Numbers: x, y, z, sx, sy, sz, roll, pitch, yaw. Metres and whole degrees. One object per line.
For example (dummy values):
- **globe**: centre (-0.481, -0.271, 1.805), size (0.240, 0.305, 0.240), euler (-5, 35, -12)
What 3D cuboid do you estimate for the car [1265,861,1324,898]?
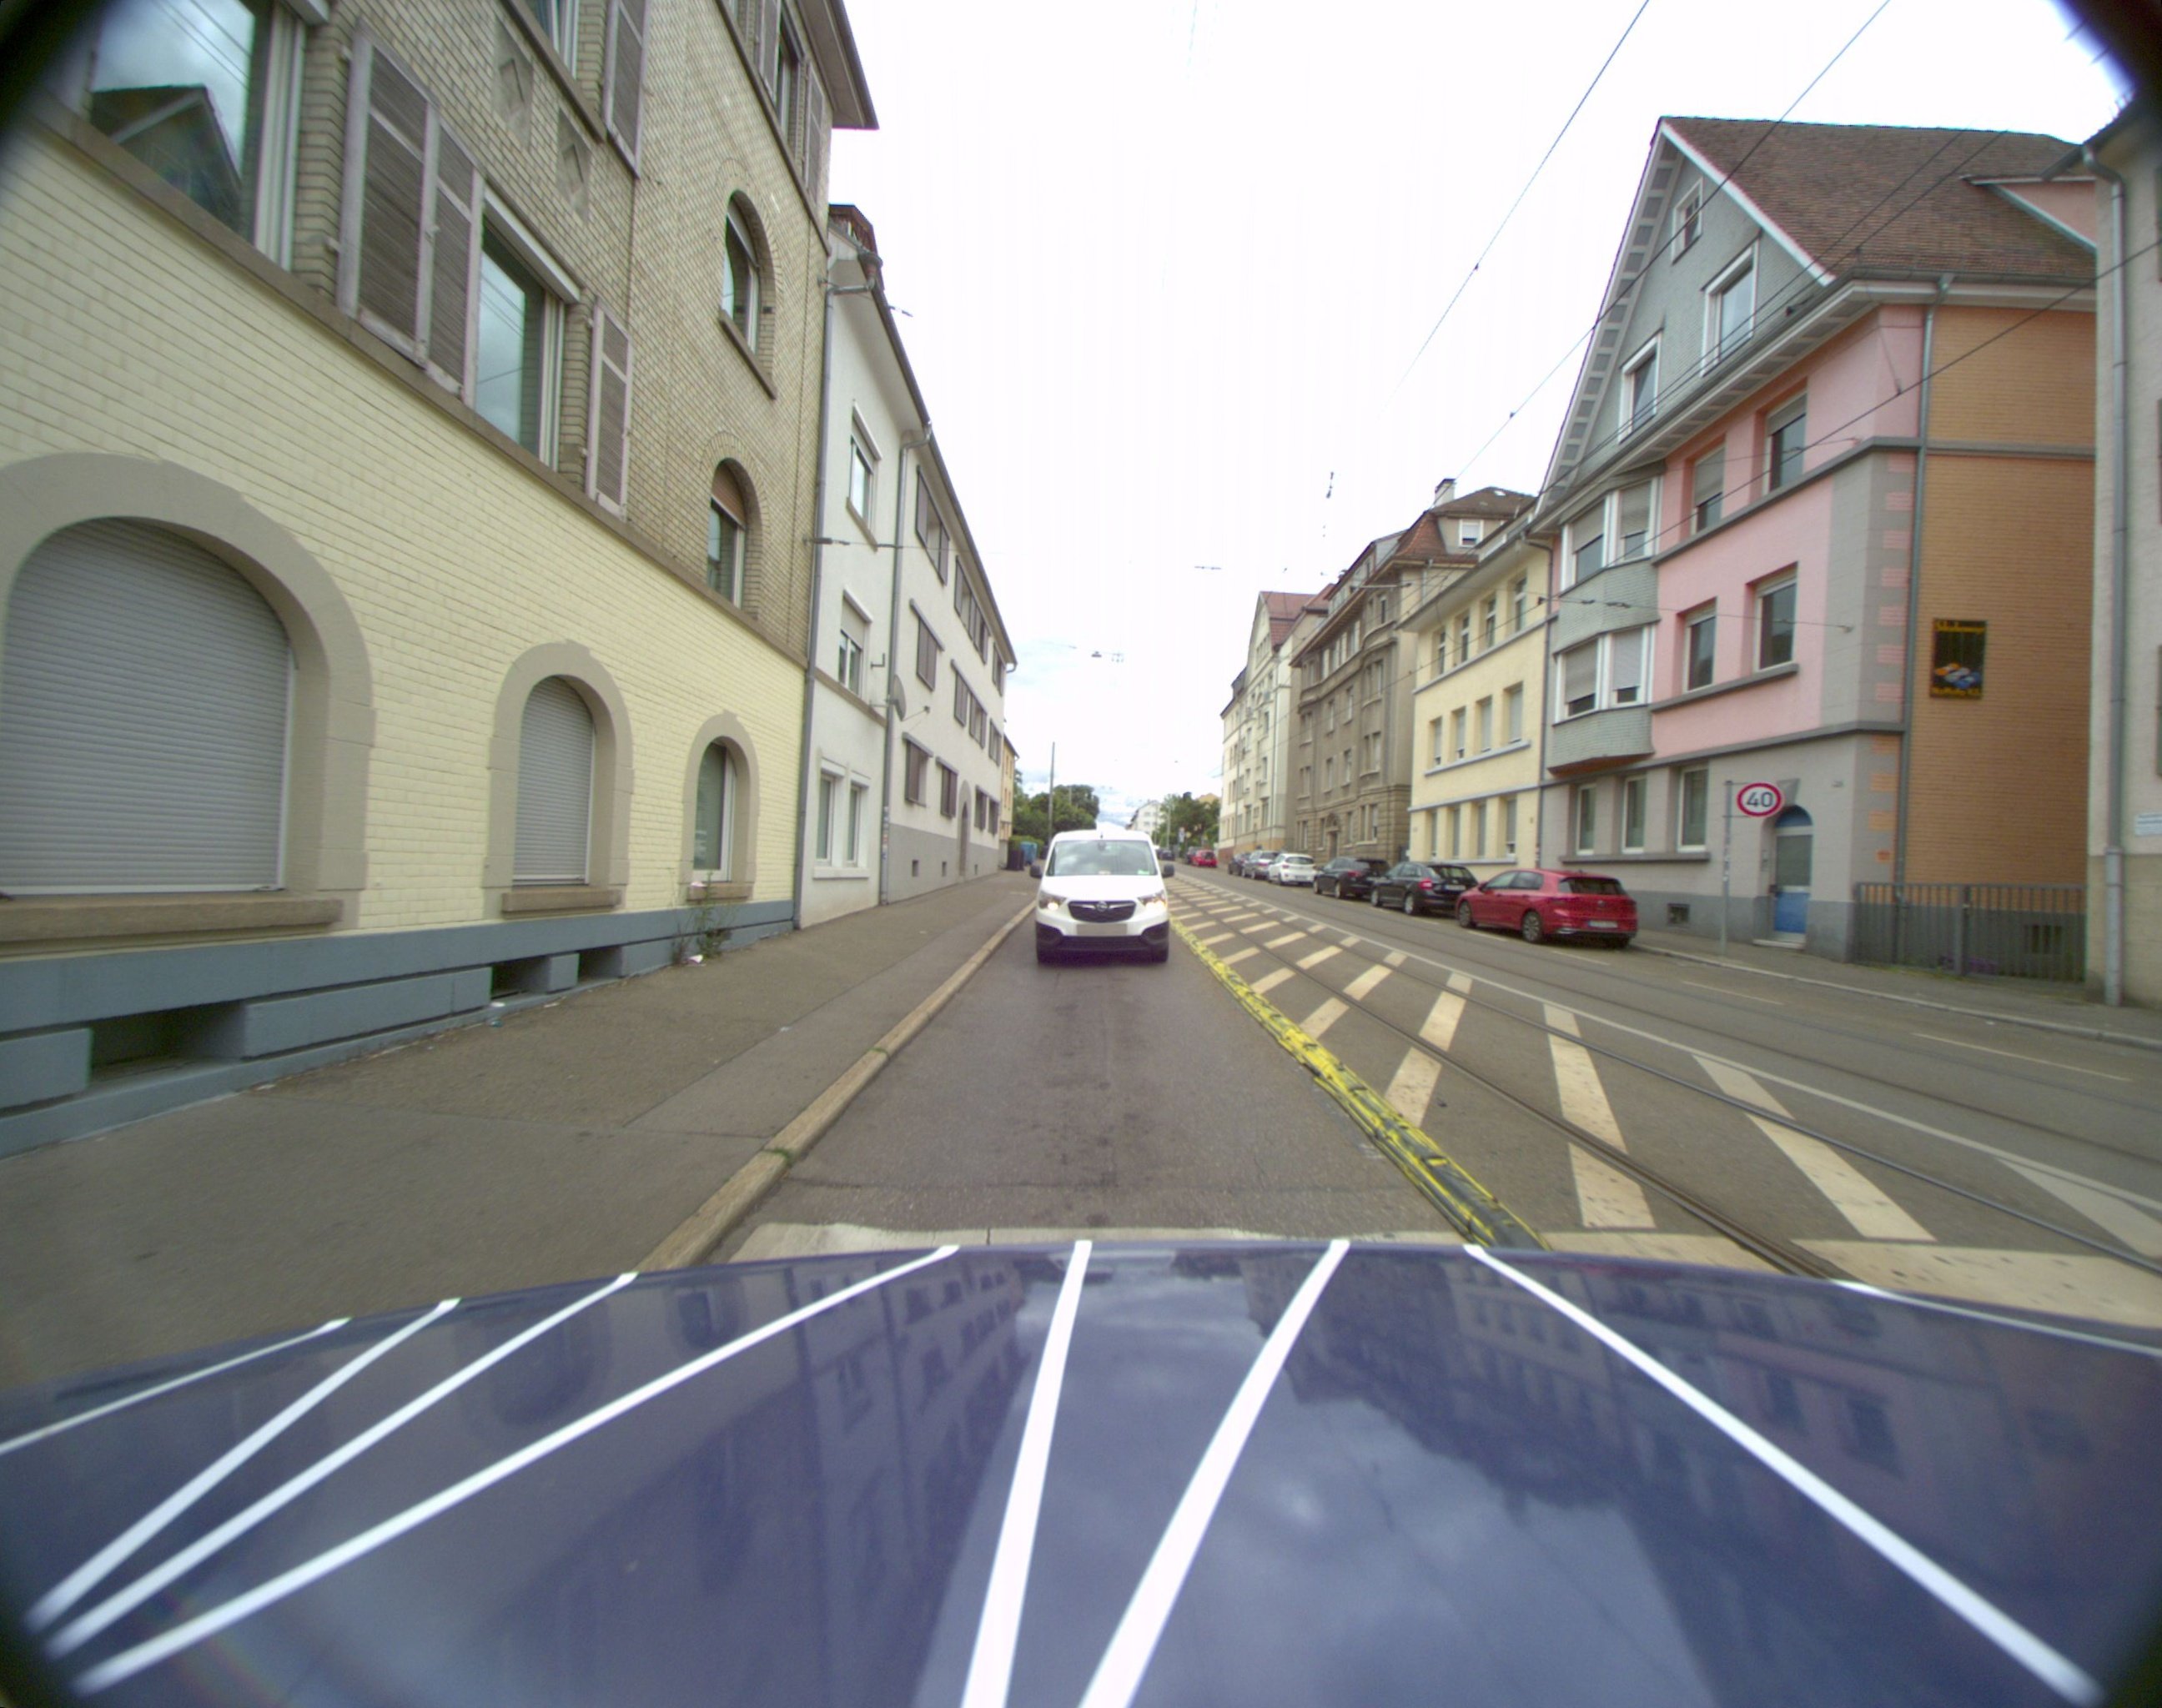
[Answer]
- **car**: centre (9.913, 1.135, 35.582), size (1.743, 1.502, 3.800), euler (2, 1, 2)

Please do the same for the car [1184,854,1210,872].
- **car**: centre (10.652, 0.808, 70.078), size (1.743, 1.517, 3.951), euler (4, 1, 0)

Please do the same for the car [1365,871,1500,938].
- **car**: centre (9.527, 1.311, 21.027), size (1.789, 1.402, 4.241), euler (4, 1, 2)

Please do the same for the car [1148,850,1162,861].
- **car**: centre (11.606, 0.232, 119.401), size (1.743, 1.517, 3.951), euler (4, 1, 0)

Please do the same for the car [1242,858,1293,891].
- **car**: centre (9.988, 1.045, 41.029), size (1.743, 1.558, 4.142), euler (1, 1, 0)

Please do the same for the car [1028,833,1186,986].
- **car**: centre (0.389, 0.667, 11.701), size (1.888, 1.827, 4.677), euler (2, 0, 2)

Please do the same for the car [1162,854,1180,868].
- **car**: centre (11.277, 0.829, 95.377), size (1.743, 1.517, 3.951), euler (4, 1, 0)

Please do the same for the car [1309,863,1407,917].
- **car**: centre (9.531, 1.179, 26.565), size (1.789, 1.502, 4.526), euler (4, 1, 2)

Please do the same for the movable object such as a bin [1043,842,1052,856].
- **movable object such as a bin**: centre (-2.694, -0.390, 61.053), size (0.669, 1.053, 0.539), euler (1, 0, 2)

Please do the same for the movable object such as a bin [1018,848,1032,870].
- **movable object such as a bin**: centre (-2.724, 0.249, 36.824), size (0.565, 1.003, 0.498), euler (5, 0, -7)

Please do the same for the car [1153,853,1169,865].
- **car**: centre (11.385, 0.636, 108.232), size (1.743, 1.517, 3.951), euler (4, 1, 0)

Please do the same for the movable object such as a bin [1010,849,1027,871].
- **movable object such as a bin**: centre (-2.958, 0.277, 35.885), size (0.637, 1.003, 0.602), euler (5, 0, 2)

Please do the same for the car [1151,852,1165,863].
- **car**: centre (11.470, 0.468, 113.457), size (1.743, 1.517, 3.951), euler (4, 1, 0)

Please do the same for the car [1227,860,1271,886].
- **car**: centre (10.133, 1.089, 45.981), size (1.743, 1.373, 4.044), euler (2, 1, 0)

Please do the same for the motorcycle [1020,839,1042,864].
- **motorcycle**: centre (-2.866, -0.146, 43.931), size (0.731, 1.382, 1.937), euler (6, 1, 8)

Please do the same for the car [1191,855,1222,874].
- **car**: centre (10.689, 0.891, 65.139), size (1.743, 1.450, 3.950), euler (3, 1, -3)

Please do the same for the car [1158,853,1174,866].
- **car**: centre (11.339, 0.703, 101.773), size (1.743, 1.517, 3.952), euler (4, 1, 2)

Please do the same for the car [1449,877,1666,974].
- **car**: centre (9.492, 1.332, 15.630), size (1.789, 1.430, 4.261), euler (4, 1, 2)
